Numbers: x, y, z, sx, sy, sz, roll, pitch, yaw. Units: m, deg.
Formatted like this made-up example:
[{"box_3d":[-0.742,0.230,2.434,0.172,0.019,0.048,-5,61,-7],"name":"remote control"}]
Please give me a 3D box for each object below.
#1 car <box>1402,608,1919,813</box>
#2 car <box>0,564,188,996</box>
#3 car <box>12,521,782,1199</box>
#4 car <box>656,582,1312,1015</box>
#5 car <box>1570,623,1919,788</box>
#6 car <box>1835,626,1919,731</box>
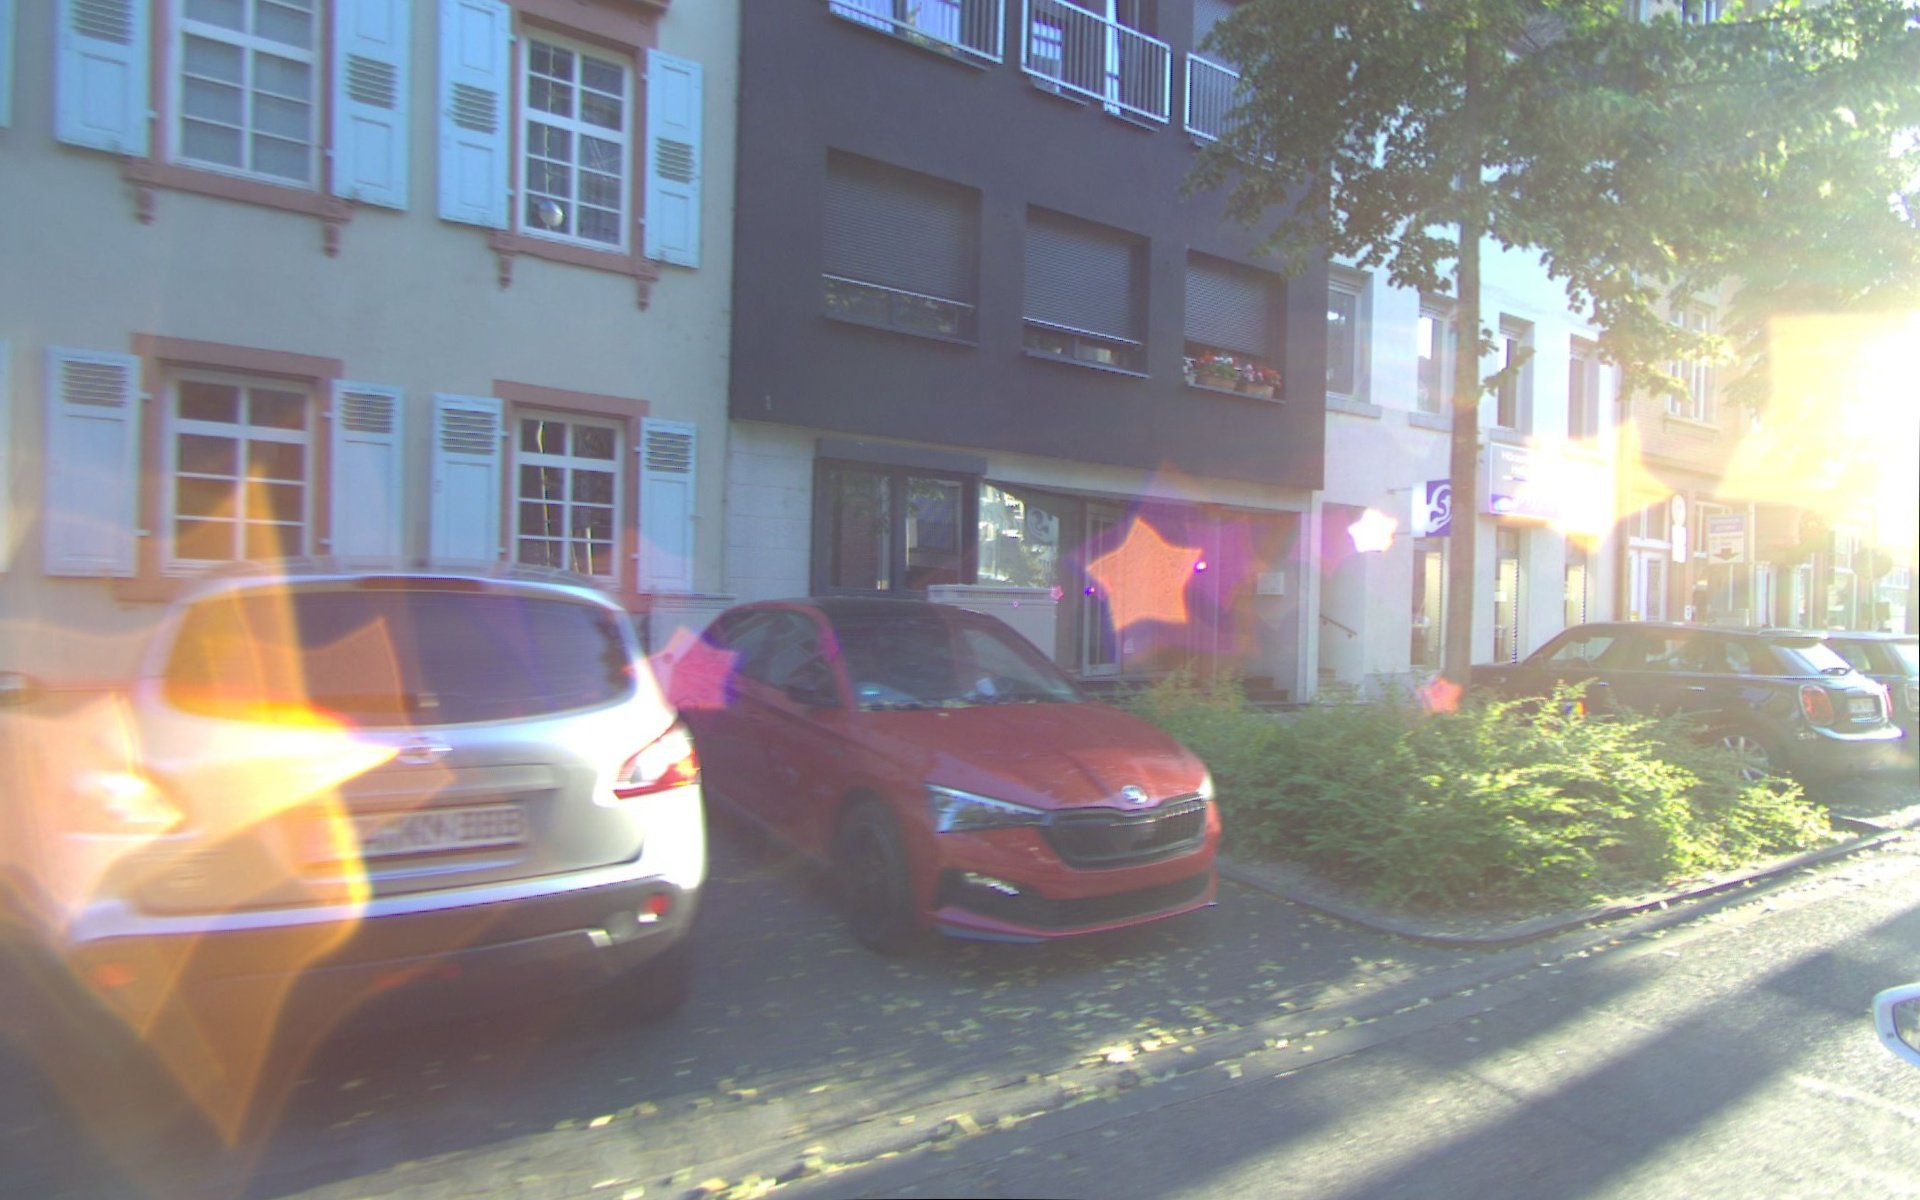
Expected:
[{"box_3d":[6.693,0.899,10.004,1.834,1.538,3.876,1,0,-29],"name":"car"},{"box_3d":[-4.287,0.625,3.567,1.626,1.535,3.640,1,-1,-24],"name":"car"},{"box_3d":[-2.181,0.622,4.341,1.719,1.606,3.811,2,0,-27],"name":"car"},{"box_3d":[-0.274,0.729,5.815,1.743,1.536,4.183,2,-1,-33],"name":"car"},{"box_3d":[8.895,1.027,11.022,1.665,1.410,3.383,1,0,-27],"name":"car"},{"box_3d":[15.009,1.160,14.947,1.555,1.541,2.678,0,-2,-33],"name":"car"}]
